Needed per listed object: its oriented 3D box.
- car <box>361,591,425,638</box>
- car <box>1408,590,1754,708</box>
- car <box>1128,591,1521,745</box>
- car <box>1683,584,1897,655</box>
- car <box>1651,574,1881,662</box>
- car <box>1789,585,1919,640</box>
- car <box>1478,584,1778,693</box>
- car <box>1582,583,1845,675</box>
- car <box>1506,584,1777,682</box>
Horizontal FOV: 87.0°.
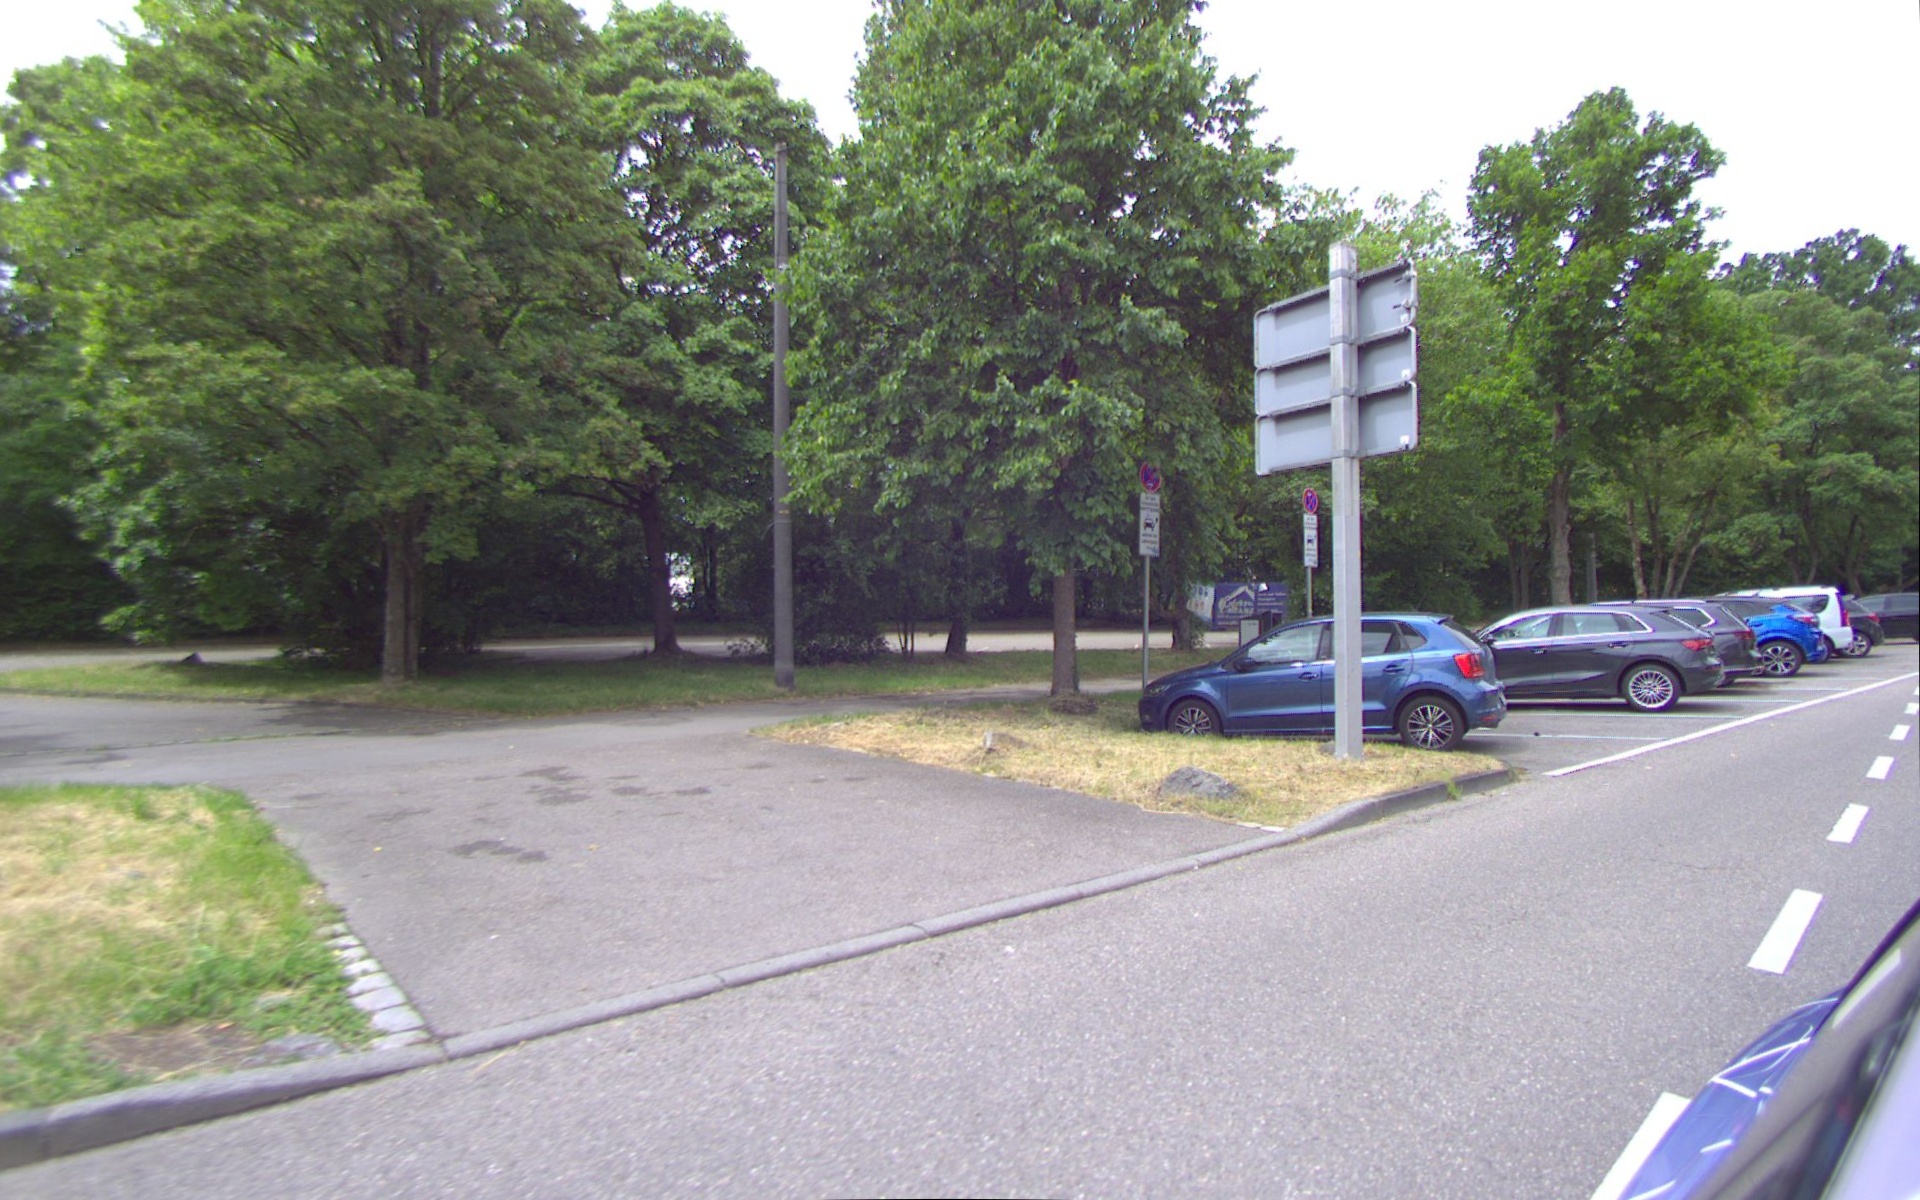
[{"bbox_3d":[-18.914,0.441,33.690,1.764,1.427,4.003,-1,0,-31],"label":"car"},{"bbox_3d":[8.586,0.709,14.252,3.858,1.444,1.808,-4,-2,35],"label":"car"},{"bbox_3d":[4.011,0.751,11.306,3.800,1.443,1.727,-4,-2,32],"label":"car"},{"bbox_3d":[19.958,0.508,24.537,3.810,1.487,1.722,-4,-3,38],"label":"car"},{"bbox_3d":[17.948,0.430,22.803,3.804,1.742,1.855,-4,-2,35],"label":"car"},{"bbox_3d":[26.722,0.348,29.239,3.969,1.432,2.034,-4,-3,33],"label":"car"},{"bbox_3d":[10.685,0.646,16.433,3.804,1.548,1.725,-4,-2,35],"label":"car"},{"bbox_3d":[14.267,0.573,19.436,3.804,1.548,1.725,-4,-2,35],"label":"car"},{"bbox_3d":[12.129,0.611,18.236,3.804,1.548,1.725,-4,-2,35],"label":"car"}]
